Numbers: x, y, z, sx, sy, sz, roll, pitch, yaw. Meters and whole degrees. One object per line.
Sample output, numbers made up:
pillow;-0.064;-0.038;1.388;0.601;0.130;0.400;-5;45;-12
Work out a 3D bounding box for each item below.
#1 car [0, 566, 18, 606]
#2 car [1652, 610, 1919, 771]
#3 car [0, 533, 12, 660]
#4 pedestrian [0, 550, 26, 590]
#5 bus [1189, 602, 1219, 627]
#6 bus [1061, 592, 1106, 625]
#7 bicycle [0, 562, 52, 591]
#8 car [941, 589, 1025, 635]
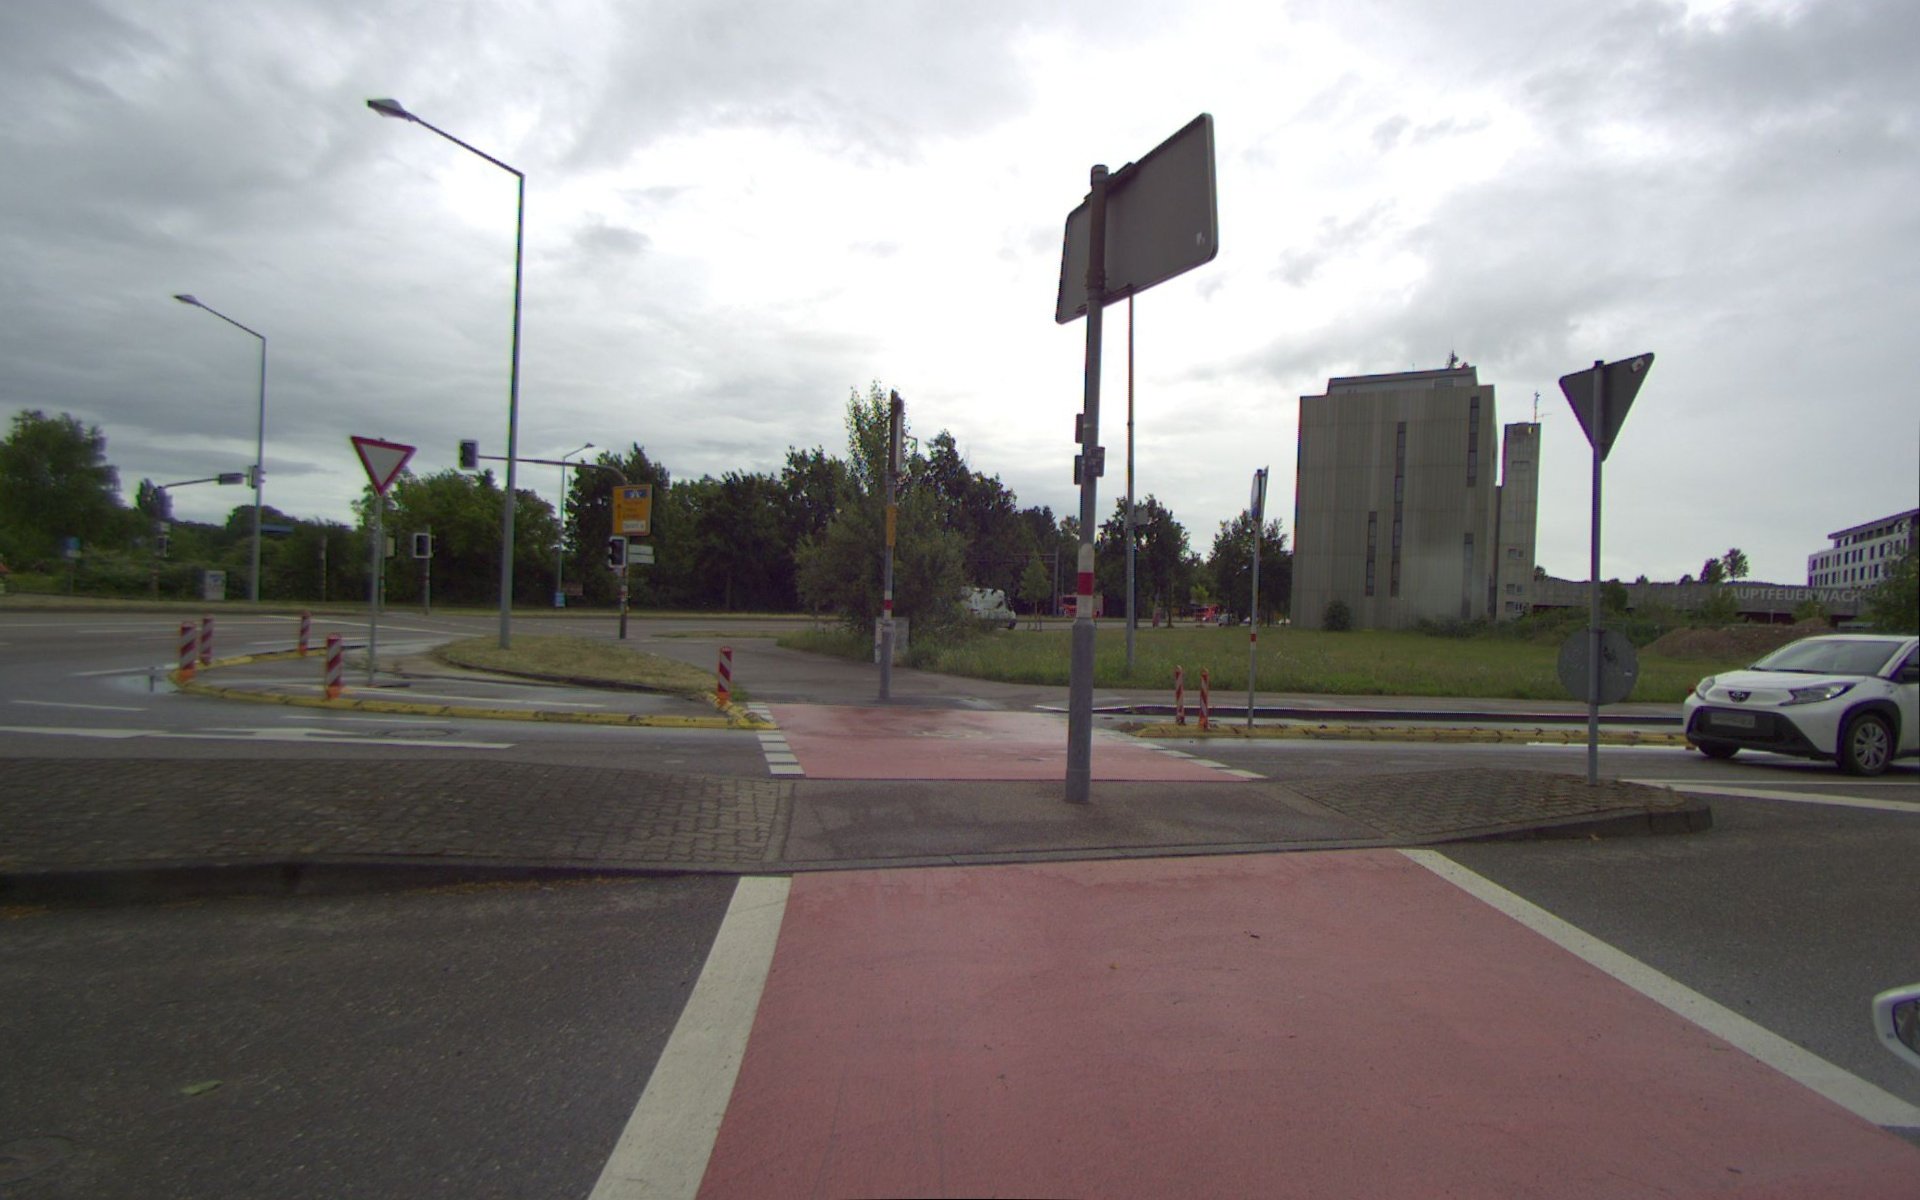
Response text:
car;-39.825;-0.641;39.364;3.961;1.576;1.880;3;0;-35
car;10.201;1.031;11.434;3.836;1.608;1.752;3;-3;-14
car;-13.531;-0.079;11.092;1.885;1.690;4.747;3;0;-6
pedestrian;-43.496;-1.376;45.930;0.962;1.794;0.743;2;0;-28
bus;41.487;2.448;170.705;2.683;4.035;9.879;2;0;27
bus;14.876;1.047;120.674;2.683;3.697;8.389;2;0;27
bicycle;-43.451;-1.083;45.973;2.656;1.238;0.752;2;0;-28
car;1.550;0.761;63.412;2.355;2.740;6.562;2;0;30
